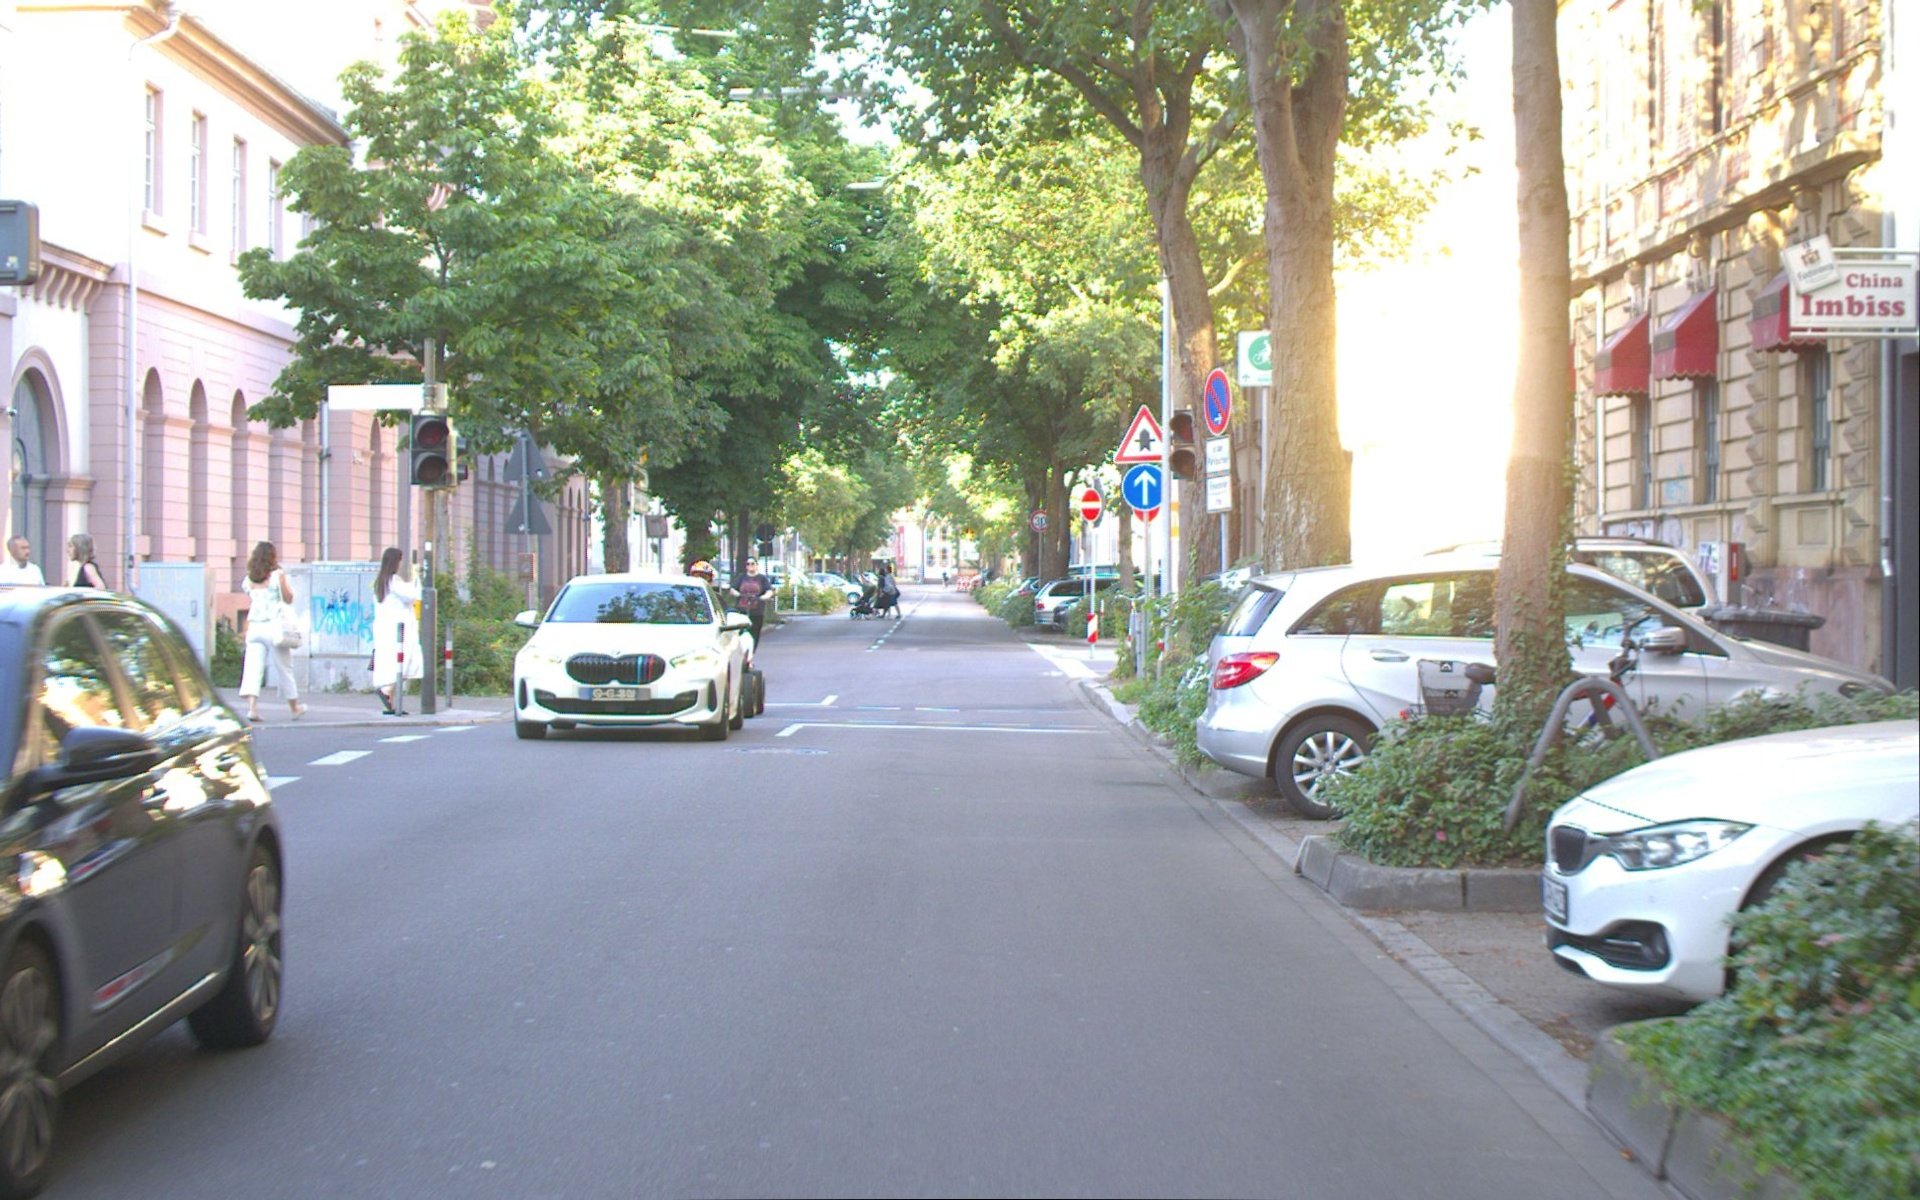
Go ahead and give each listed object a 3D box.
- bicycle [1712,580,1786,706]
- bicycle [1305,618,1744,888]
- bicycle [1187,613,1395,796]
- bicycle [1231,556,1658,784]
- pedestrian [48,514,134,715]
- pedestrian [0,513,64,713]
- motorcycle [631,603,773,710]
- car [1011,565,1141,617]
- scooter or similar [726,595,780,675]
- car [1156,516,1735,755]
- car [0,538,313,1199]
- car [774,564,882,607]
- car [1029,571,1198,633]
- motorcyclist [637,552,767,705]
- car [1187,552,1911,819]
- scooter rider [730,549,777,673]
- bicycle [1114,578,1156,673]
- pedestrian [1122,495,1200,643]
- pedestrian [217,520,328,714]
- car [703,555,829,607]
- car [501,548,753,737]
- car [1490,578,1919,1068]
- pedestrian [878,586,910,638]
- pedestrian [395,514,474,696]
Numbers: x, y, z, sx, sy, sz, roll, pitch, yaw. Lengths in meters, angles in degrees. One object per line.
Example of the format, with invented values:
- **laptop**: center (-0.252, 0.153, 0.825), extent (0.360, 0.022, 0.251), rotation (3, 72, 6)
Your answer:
- **bicycle**: center (7.741, 0.404, 33.763), extent (0.385, 1.207, 1.725), rotation (0, 0, 2)
- **bicycle**: center (2.723, 0.721, 16.596), extent (2.019, 1.200, 0.488), rotation (-2, 0, -12)
- **bicycle**: center (2.227, 0.700, 23.184), extent (1.337, 1.200, 0.488), rotation (-1, 0, 0)
- **bicycle**: center (3.673, 0.528, 26.143), extent (3.112, 1.657, 0.658), rotation (1, 0, -4)
- **pedestrian**: center (-8.104, 0.129, 32.081), extent (0.554, 1.844, 0.611), rotation (1, 2, 14)
- **pedestrian**: center (-8.807, 0.117, 32.216), extent (0.554, 1.844, 0.611), rotation (1, 0, 14)
- **motorcycle**: center (-2.701, 0.593, 36.331), extent (1.312, 1.086, 2.396), rotation (0, -1, 0)
- **car**: center (3.638, -0.289, 108.316), extent (4.014, 1.617, 1.781), rotation (0, 0, -1)
- **scooter or similar**: center (-3.014, 0.505, 50.100), extent (0.502, 1.141, 1.249), rotation (0, 0, 10)
- **car**: center (4.015, 0.277, 28.952), extent (4.540, 1.908, 1.950), rotation (0, 1, -2)
- **car**: center (-3.050, 0.626, 9.079), extent (1.877, 1.543, 4.275), rotation (0, 1, 0)
- **car**: center (-6.399, -0.696, 166.949), extent (5.064, 2.076, 2.263), rotation (0, 1, 2)
- **car**: center (3.877, 0.050, 87.540), extent (4.192, 1.475, 1.852), rotation (-1, 1, 0)
- **motorcyclist**: center (-2.714, 0.292, 36.343), extent (1.280, 1.586, 1.077), rotation (0, 0, 0)
- **car**: center (3.542, 0.495, 21.344), extent (4.225, 1.555, 1.970), rotation (0, 1, 3)
- **scooter rider**: center (-3.005, 0.159, 50.108), extent (0.494, 1.785, 0.874), rotation (0, -1, 10)
- **bicycle**: center (2.557, 0.365, 50.136), extent (0.417, 1.368, 1.287), rotation (0, 0, 11)
- **pedestrian**: center (2.981, -0.455, 51.043), extent (1.043, 2.139, 1.063), rotation (1, 0, 0)
- **pedestrian**: center (-6.532, 0.152, 32.684), extent (0.790, 1.785, 0.771), rotation (3, 1, 3)
- **car**: center (-7.979, -0.788, 141.513), extent (5.064, 2.076, 2.263), rotation (0, 1, 0)
- **car**: center (-2.860, 0.326, 30.346), extent (1.877, 1.543, 4.275), rotation (0, 1, -1)
- **car**: center (4.126, 0.653, 11.062), extent (4.584, 1.432, 1.925), rotation (0, 1, 2)
- **pedestrian**: center (-2.094, 0.376, 108.821), extent (0.875, 1.644, 0.655), rotation (1, 0, 8)
- **pedestrian**: center (-5.516, 0.045, 36.076), extent (0.768, 1.882, 0.793), rotation (0, 0, -12)
